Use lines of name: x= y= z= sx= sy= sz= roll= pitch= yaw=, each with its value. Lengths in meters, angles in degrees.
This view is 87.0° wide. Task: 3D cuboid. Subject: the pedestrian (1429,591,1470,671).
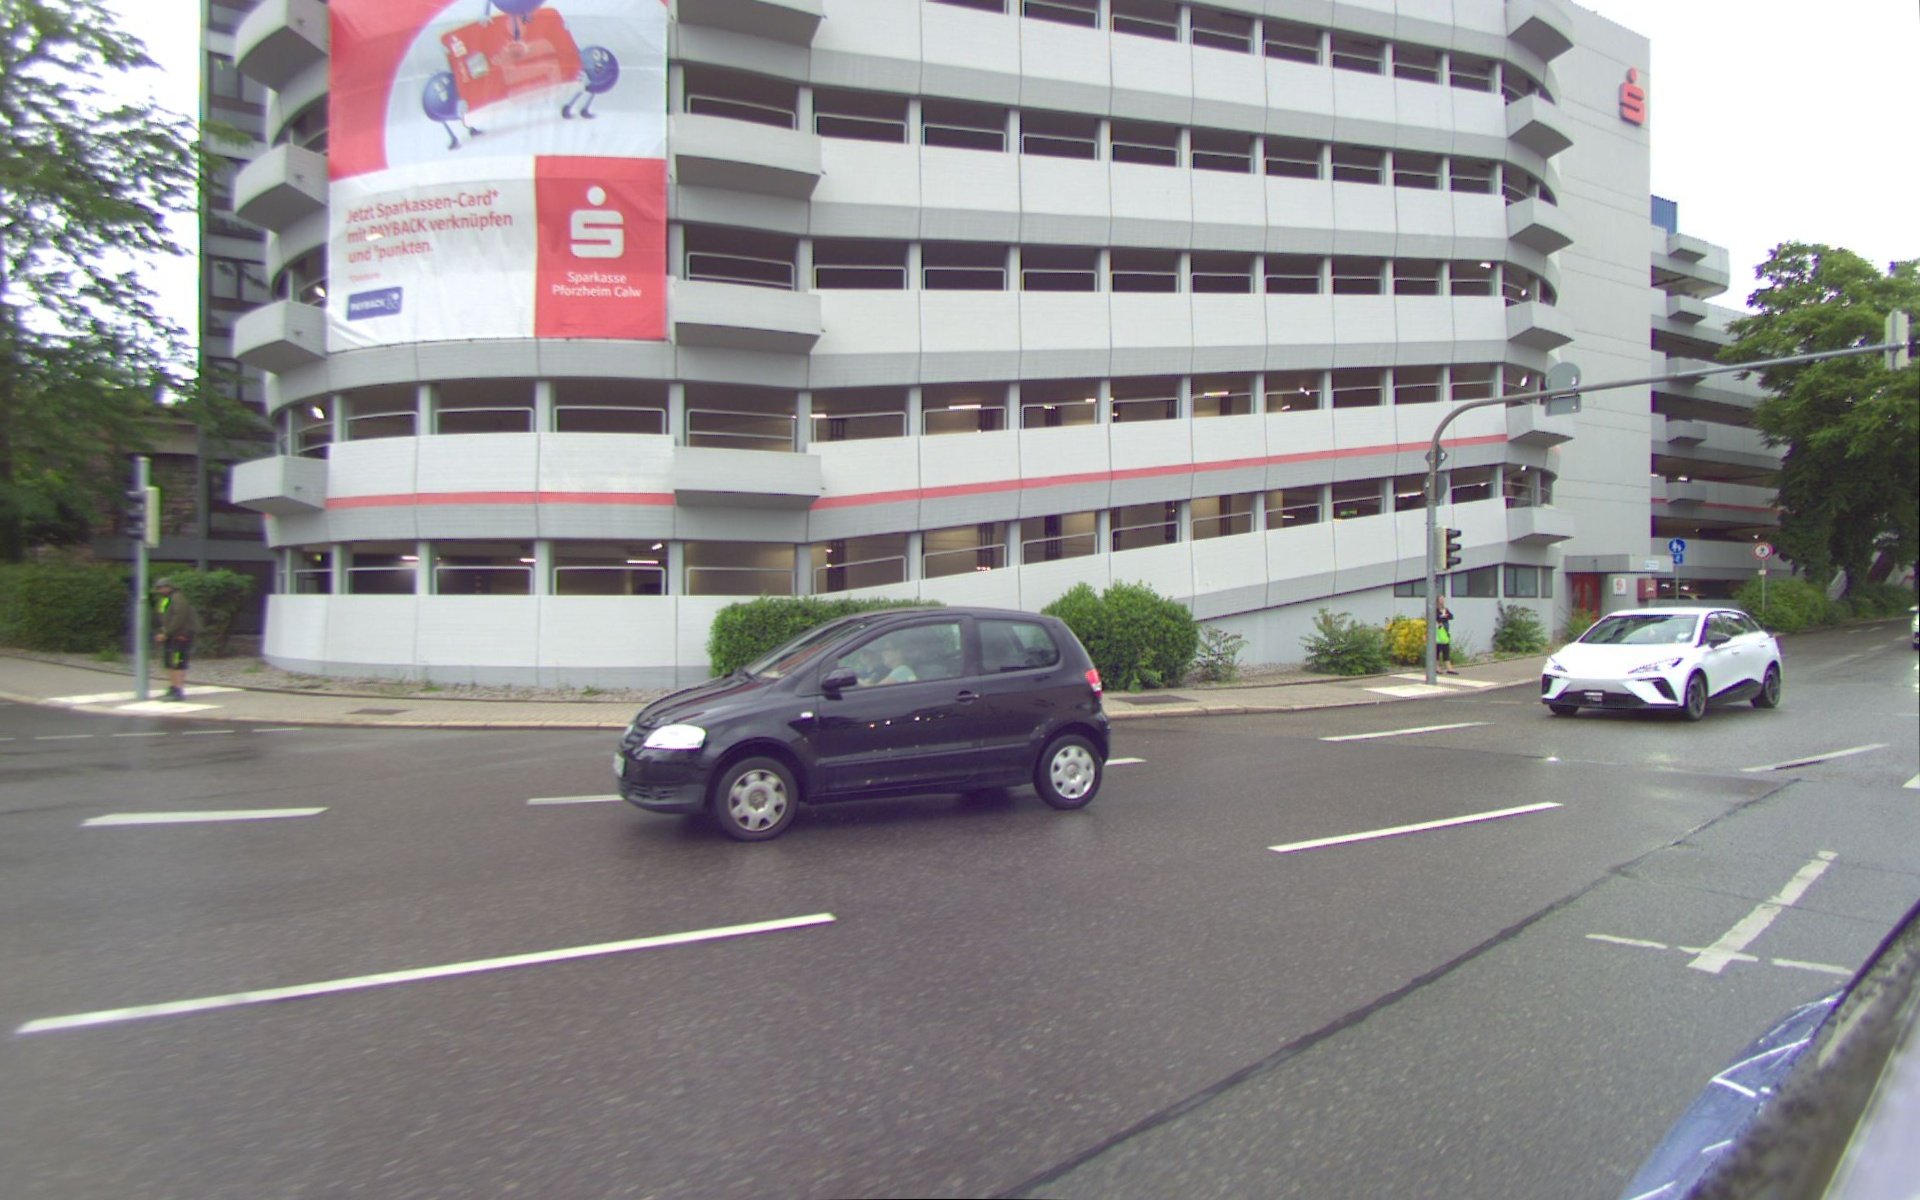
pedestrian: x=10.658 y=0.652 z=22.033 sx=0.508 sy=1.679 sz=0.586 roll=-1 pitch=3 yaw=-25

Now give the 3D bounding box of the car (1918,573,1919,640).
car: x=27.182 y=0.185 z=27.041 sx=4.324 sy=1.748 sz=1.996 roll=0 pitch=0 yaw=-42

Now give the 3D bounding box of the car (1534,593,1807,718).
car: x=10.221 y=0.713 z=14.483 sx=4.128 sy=1.497 sz=1.806 roll=-1 pitch=-1 yaw=-34

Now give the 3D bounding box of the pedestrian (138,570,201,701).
pedestrian: x=-11.915 y=0.520 z=15.259 sx=0.536 sy=1.913 sz=0.506 roll=2 pitch=2 yaw=8

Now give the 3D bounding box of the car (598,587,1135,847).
car: x=-0.692 y=0.715 z=7.686 sx=3.669 sy=1.512 sz=1.680 roll=-1 pitch=-1 yaw=-27
